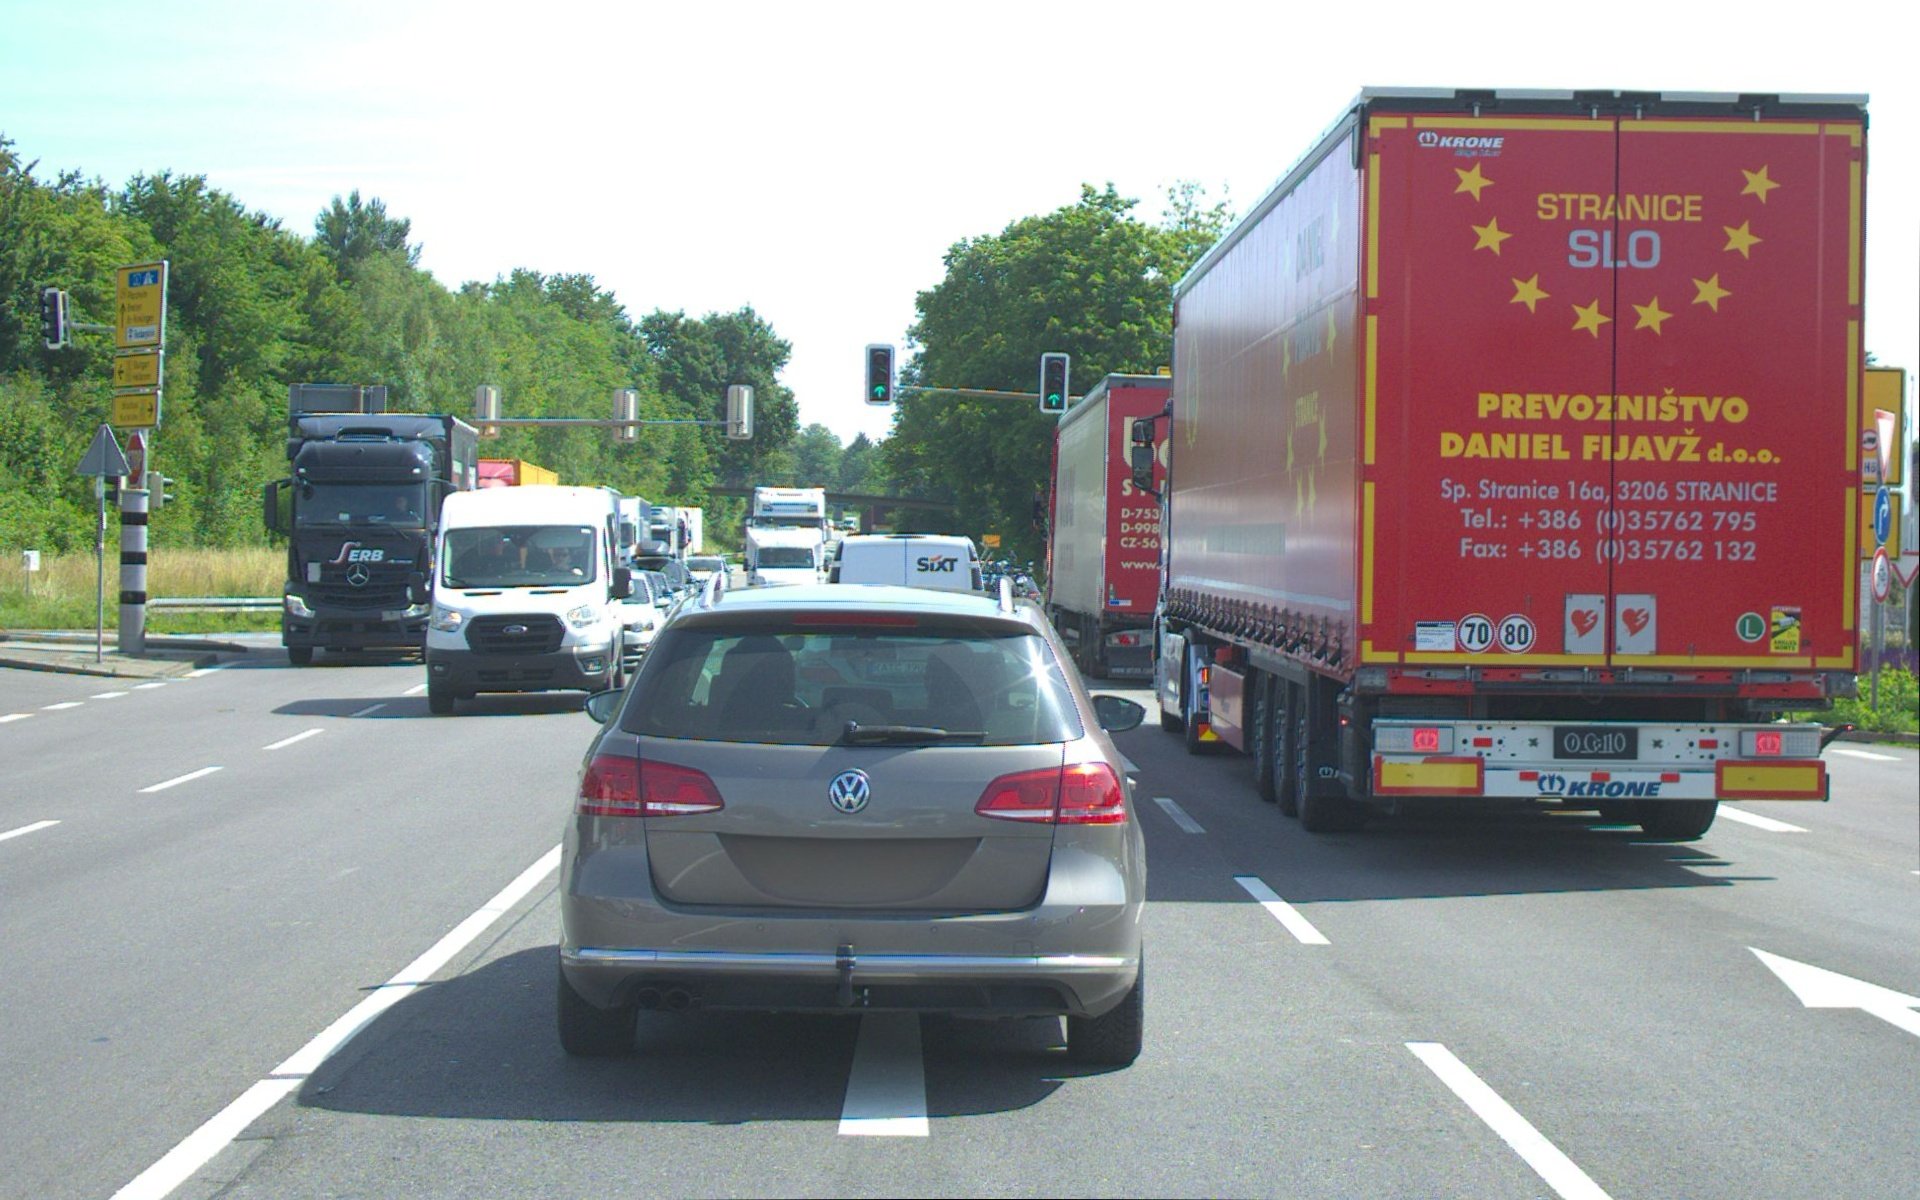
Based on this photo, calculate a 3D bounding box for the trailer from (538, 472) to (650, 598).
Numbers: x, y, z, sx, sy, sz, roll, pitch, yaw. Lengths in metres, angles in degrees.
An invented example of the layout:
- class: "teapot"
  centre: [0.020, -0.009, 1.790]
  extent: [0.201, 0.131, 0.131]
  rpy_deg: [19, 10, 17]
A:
- class: "trailer"
  centre: [-12.663, -2.206, 120.038]
  extent: [2.691, 4.133, 13.880]
  rpy_deg: [0, 1, -1]

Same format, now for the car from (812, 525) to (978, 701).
- class: "car"
  centre: [-0.802, 0.123, 40.081]
  extent: [1.770, 1.930, 3.978]
  rpy_deg: [0, 1, -3]

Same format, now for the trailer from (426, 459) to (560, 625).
- class: "trailer"
  centre: [-11.980, -1.460, 89.039]
  extent: [2.720, 3.984, 12.237]
  rpy_deg: [0, 1, -5]

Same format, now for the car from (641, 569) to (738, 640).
- class: "car"
  centre: [-5.781, 0.076, 73.797]
  extent: [1.711, 1.439, 4.379]
  rpy_deg: [-1, 1, 0]

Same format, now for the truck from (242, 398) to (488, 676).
- class: "truck"
  centre: [-9.269, -0.958, 54.606]
  extent: [2.710, 3.984, 9.977]
  rpy_deg: [0, 1, -3]

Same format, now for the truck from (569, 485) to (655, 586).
- class: "truck"
  centre: [-14.303, -2.625, 141.567]
  extent: [3.187, 4.066, 6.347]
  rpy_deg: [0, 1, -3]

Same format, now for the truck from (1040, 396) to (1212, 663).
- class: "truck"
  centre: [2.625, -1.116, 55.919]
  extent: [2.406, 4.113, 5.521]
  rpy_deg: [0, 1, -1]

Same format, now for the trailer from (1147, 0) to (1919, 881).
- class: "trailer"
  centre: [3.223, -0.898, 23.705]
  extent: [2.839, 4.350, 13.168]
  rpy_deg: [3, 1, -1]

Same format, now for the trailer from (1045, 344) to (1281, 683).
- class: "trailer"
  centre: [2.710, -1.145, 49.617]
  extent: [2.395, 4.229, 13.078]
  rpy_deg: [0, 1, -1]

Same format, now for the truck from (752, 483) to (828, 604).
- class: "truck"
  centre: [-5.964, -1.949, 120.068]
  extent: [2.536, 4.074, 6.266]
  rpy_deg: [0, 1, -4]

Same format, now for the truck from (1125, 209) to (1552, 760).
- class: "truck"
  centre: [3.155, -0.946, 30.292]
  extent: [2.870, 4.266, 5.839]
  rpy_deg: [3, 0, -1]

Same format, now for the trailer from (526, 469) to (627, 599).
- class: "trailer"
  centre: [-12.525, -2.134, 112.625]
  extent: [2.645, 4.091, 6.181]
  rpy_deg: [1, 1, -1]

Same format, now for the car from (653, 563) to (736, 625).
- class: "car"
  centre: [-6.903, -0.187, 89.804]
  extent: [1.861, 1.519, 4.589]
  rpy_deg: [0, 1, -1]

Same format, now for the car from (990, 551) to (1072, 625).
- class: "car"
  centre: [1.958, -0.351, 95.768]
  extent: [1.993, 2.007, 4.000]
  rpy_deg: [0, 1, -3]

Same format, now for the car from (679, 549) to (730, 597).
- class: "car"
  centre: [-9.946, -1.076, 134.006]
  extent: [1.843, 1.726, 4.589]
  rpy_deg: [2, 1, -3]

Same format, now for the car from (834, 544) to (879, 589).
- class: "car"
  centre: [-4.801, -1.548, 158.996]
  extent: [1.993, 2.007, 4.000]
  rpy_deg: [0, 1, -3]

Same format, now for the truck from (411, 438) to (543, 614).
- class: "truck"
  centre: [-11.376, -1.725, 81.389]
  extent: [2.720, 3.984, 6.058]
  rpy_deg: [0, 1, -5]

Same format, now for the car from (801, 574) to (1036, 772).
- class: "car"
  centre: [-0.415, 0.553, 28.580]
  extent: [1.770, 1.508, 4.001]
  rpy_deg: [0, 1, -3]

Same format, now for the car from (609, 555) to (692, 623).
- class: "car"
  centre: [-7.780, -0.308, 86.834]
  extent: [1.908, 1.597, 4.589]
  rpy_deg: [-1, 1, -3]

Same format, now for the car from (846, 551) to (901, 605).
- class: "car"
  centre: [-3.327, -0.862, 131.702]
  extent: [1.993, 2.007, 4.000]
  rpy_deg: [0, 1, -3]

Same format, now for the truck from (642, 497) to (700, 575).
- class: "truck"
  centre: [-15.121, -3.308, 180.301]
  extent: [2.728, 3.985, 9.621]
  rpy_deg: [0, 1, -3]

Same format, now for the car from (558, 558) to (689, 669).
- class: "car"
  centre: [-4.928, 0.172, 50.764]
  extent: [1.653, 1.550, 4.000]
  rpy_deg: [-1, 1, -2]

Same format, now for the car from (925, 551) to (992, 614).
- class: "car"
  centre: [-0.075, -0.578, 113.071]
  extent: [1.993, 2.007, 4.000]
  rpy_deg: [0, 1, -3]

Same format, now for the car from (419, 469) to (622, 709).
- class: "car"
  centre: [-4.966, -0.154, 39.676]
  extent: [2.058, 2.501, 7.116]
  rpy_deg: [0, 1, -5]

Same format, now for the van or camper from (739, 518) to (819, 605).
- class: "van or camper"
  centre: [-5.562, -1.198, 106.453]
  extent: [2.330, 2.591, 6.979]
  rpy_deg: [0, 1, -2]

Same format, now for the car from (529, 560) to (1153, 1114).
- class: "car"
  centre: [-0.430, 0.630, 11.387]
  extent: [1.691, 1.508, 4.001]
  rpy_deg: [0, 1, -3]
